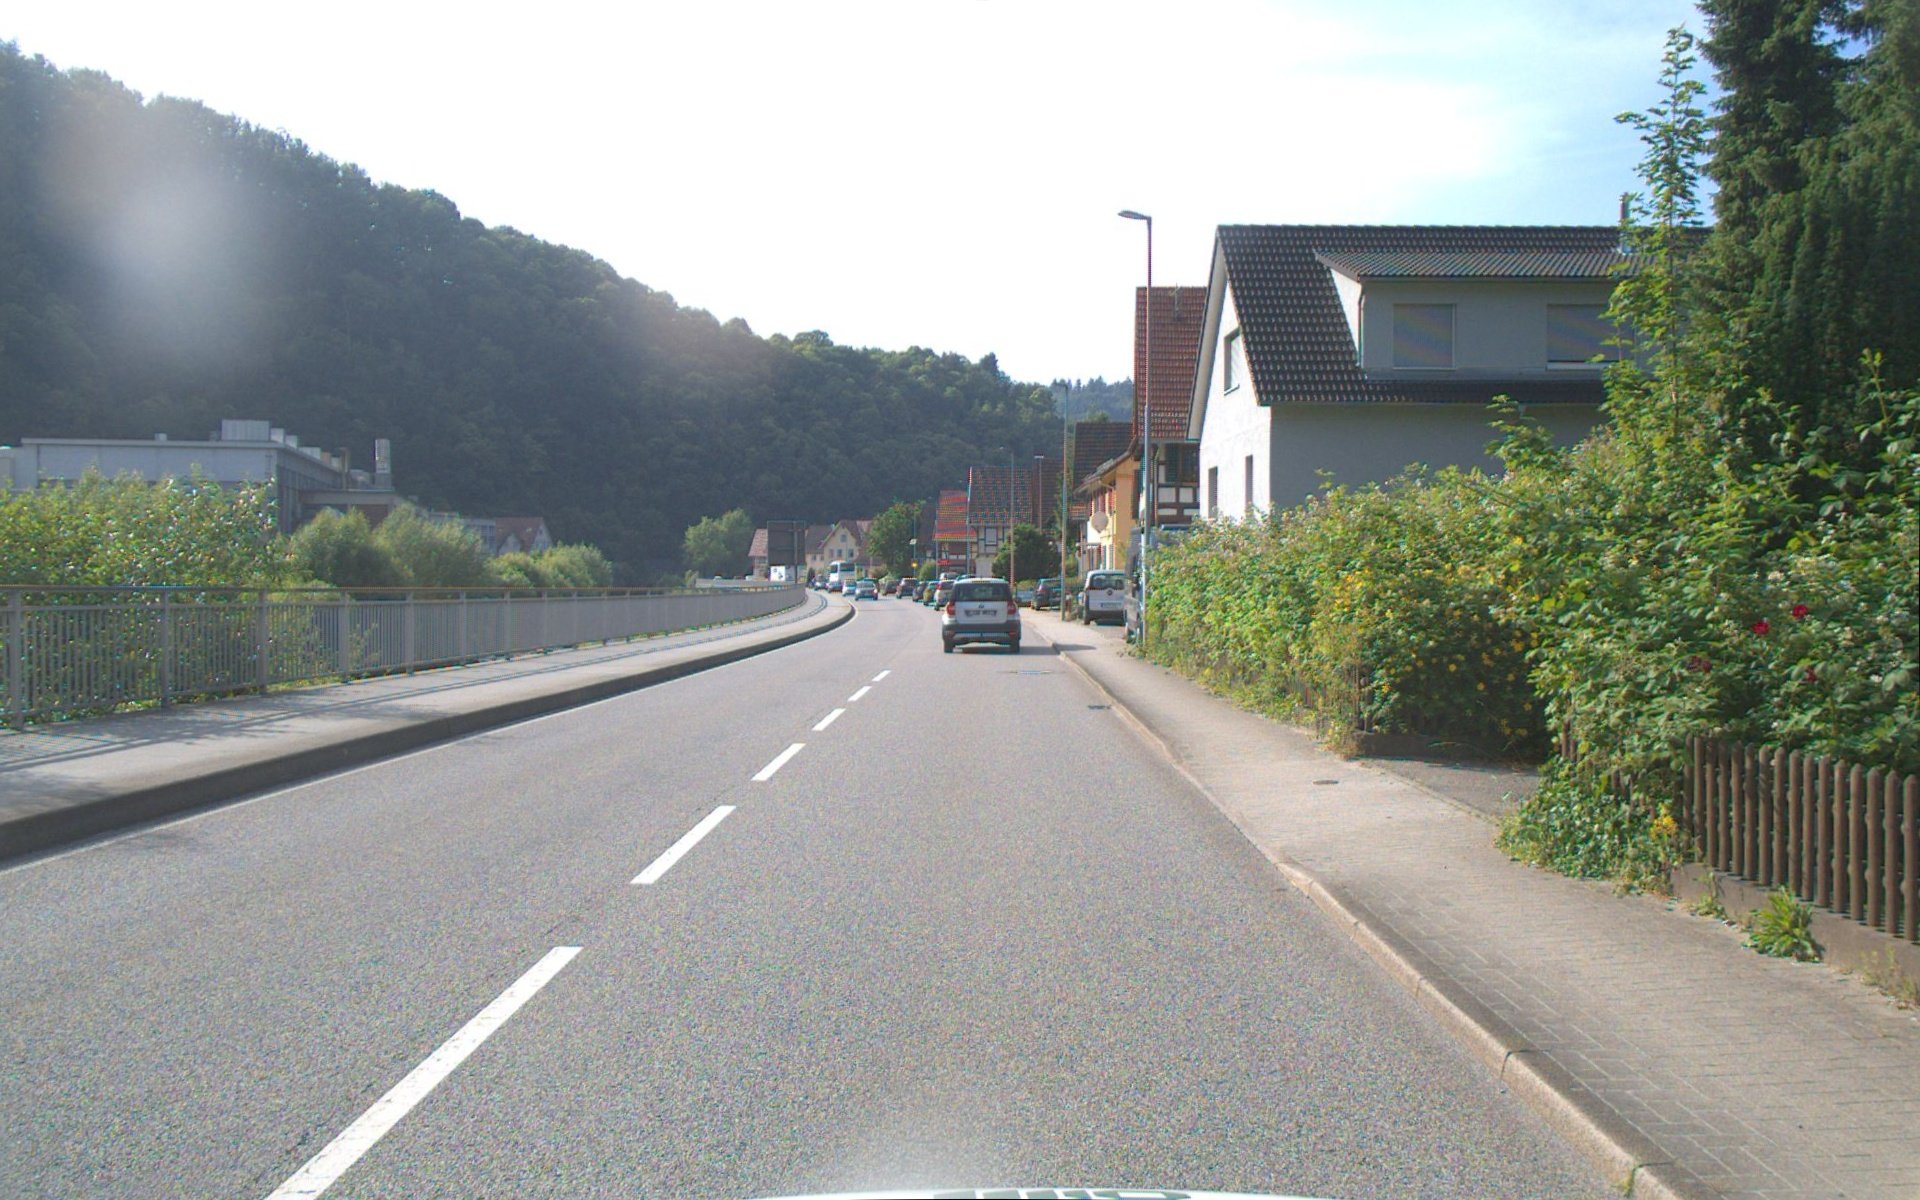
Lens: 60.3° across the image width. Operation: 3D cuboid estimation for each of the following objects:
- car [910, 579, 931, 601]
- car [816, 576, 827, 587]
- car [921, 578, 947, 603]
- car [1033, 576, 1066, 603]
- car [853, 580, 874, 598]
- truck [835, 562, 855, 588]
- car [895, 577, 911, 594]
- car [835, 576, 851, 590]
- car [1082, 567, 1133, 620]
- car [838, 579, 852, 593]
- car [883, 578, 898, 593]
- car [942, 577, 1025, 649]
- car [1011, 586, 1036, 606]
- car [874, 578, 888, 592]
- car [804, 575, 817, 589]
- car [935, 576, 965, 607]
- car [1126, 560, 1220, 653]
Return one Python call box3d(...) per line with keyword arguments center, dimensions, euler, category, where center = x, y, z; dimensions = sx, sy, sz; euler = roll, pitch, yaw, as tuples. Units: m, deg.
box3d(center=(-2.773, -0.692, 116.308), dimensions=(1.449, 1.485, 3.082), euler=(0, 0, -2), category="car")
box3d(center=(-18.218, -2.434, 217.783), dimensions=(1.338, 1.300, 3.079), euler=(0, 0, -6), category="car")
box3d(center=(-1.597, -0.556, 101.603), dimensions=(1.577, 1.485, 3.345), euler=(0, 0, -1), category="car")
box3d(center=(4.258, -0.497, 78.771), dimensions=(1.512, 1.238, 3.278), euler=(0, 0, 2), category="car")
box3d(center=(-7.590, -0.862, 129.862), dimensions=(1.548, 1.396, 3.339), euler=(0, 0, -5), category="car")
box3d(center=(-15.147, -3.309, 218.065), dimensions=(2.675, 3.433, 6.474), euler=(0, 2, -3), category="truck")
box3d(center=(-4.630, -1.164, 134.049), dimensions=(1.337, 1.300, 3.081), euler=(0, 0, -2), category="car")
box3d(center=(-13.520, -1.975, 191.249), dimensions=(1.715, 1.571, 3.994), euler=(0, 2, -7), category="car")
box3d(center=(4.787, -0.185, 54.029), dimensions=(1.576, 1.674, 3.652), euler=(0, 0, 4), category="car")
box3d(center=(-10.966, -1.306, 158.010), dimensions=(1.337, 1.300, 3.080), euler=(0, 0, -4), category="car")
box3d(center=(-6.525, -1.360, 154.765), dimensions=(1.337, 1.300, 3.081), euler=(0, 0, -3), category="car")
box3d(center=(0.496, 0.278, 38.379), dimensions=(1.823, 1.571, 4.372), euler=(0, 0, -1), category="car")
box3d(center=(3.314, -0.205, 86.645), dimensions=(1.269, 0.991, 2.922), euler=(0, 0, 2), category="car")
box3d(center=(-9.033, -1.719, 188.657), dimensions=(1.436, 1.470, 3.617), euler=(0, 2, -4), category="car")
box3d(center=(-22.817, -2.788, 252.550), dimensions=(1.955, 2.048, 3.996), euler=(0, 2, -6), category="car")
box3d(center=(-0.546, -0.431, 87.512), dimensions=(1.589, 1.568, 3.277), euler=(0, 0, -1), category="car")
box3d(center=(4.441, 0.078, 34.912), dimensions=(1.772, 1.825, 4.003), euler=(0, 2, 5), category="car")
